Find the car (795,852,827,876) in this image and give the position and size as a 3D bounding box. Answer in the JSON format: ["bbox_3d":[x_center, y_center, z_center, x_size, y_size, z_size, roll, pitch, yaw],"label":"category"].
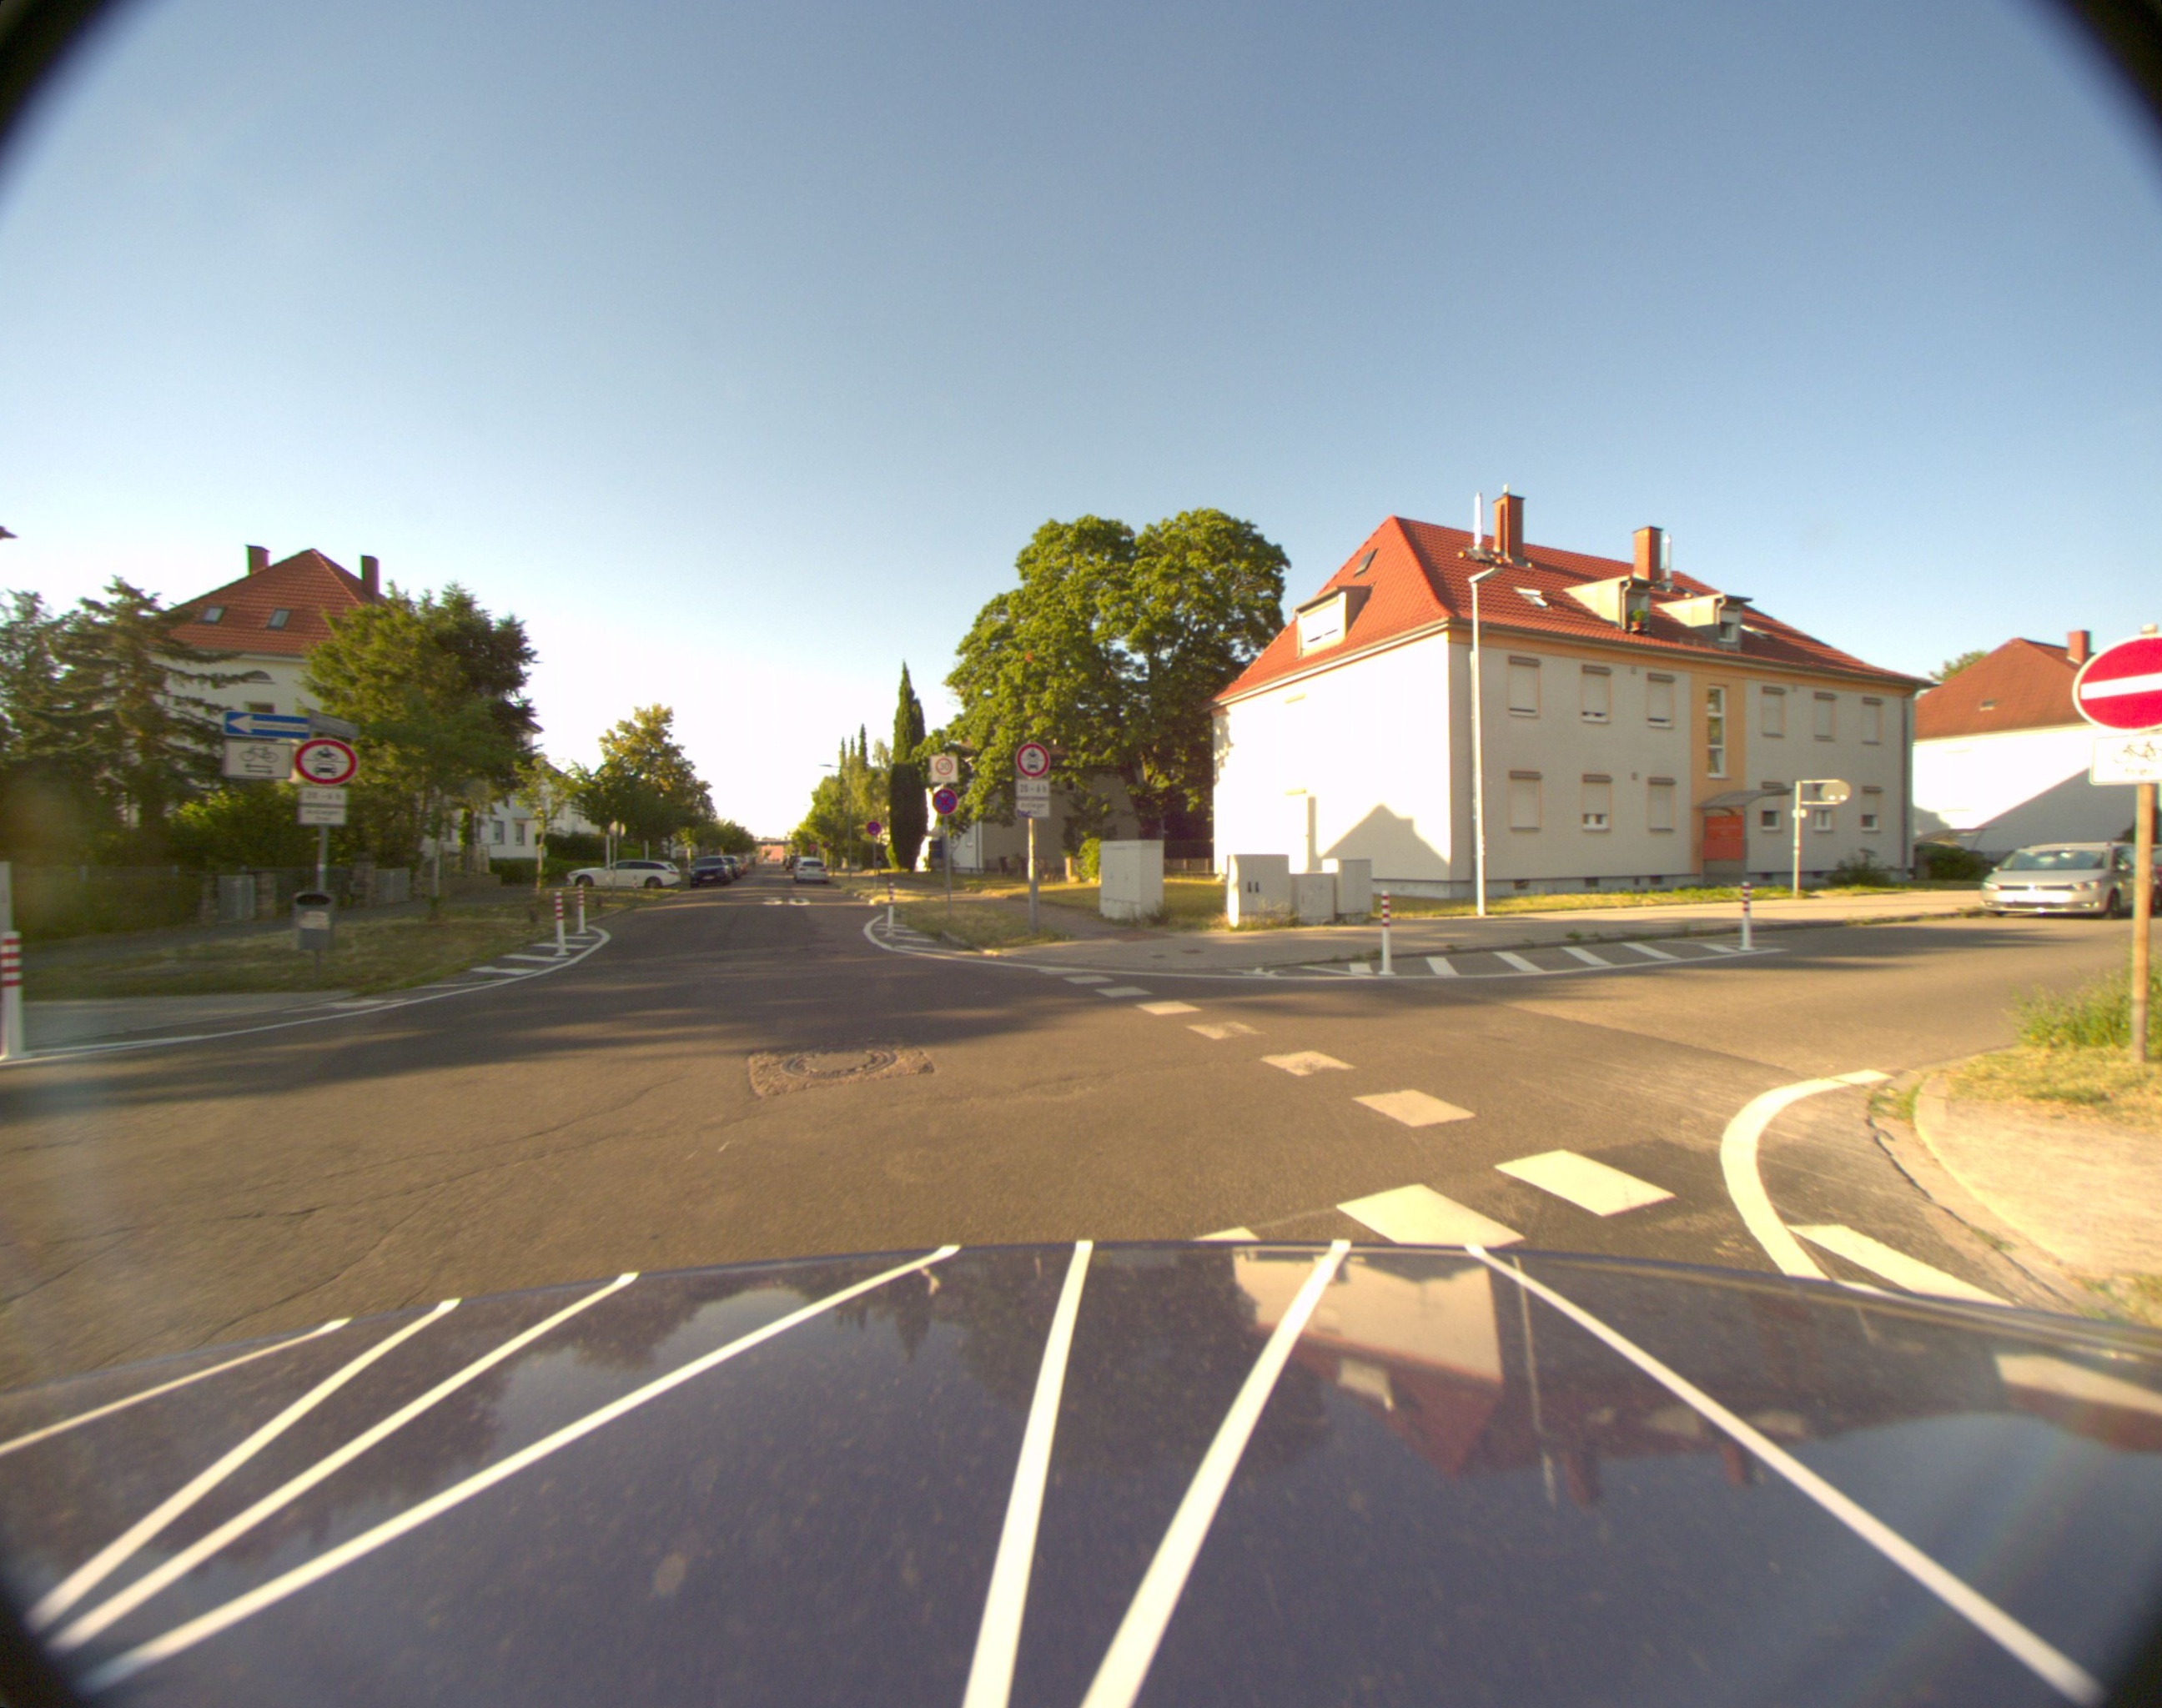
[{"bbox_3d":[-19.877,0.706,55.810,1.974,1.604,4.239,-1,1,-22],"label":"car"}]

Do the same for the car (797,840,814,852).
[{"bbox_3d":[-36.960,-1.070,101.929,1.974,1.604,4.239,-1,1,-22],"label":"car"}]

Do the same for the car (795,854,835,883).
[{"bbox_3d":[-15.878,0.822,45.224,1.974,1.604,4.239,-1,1,-22],"label":"car"}]

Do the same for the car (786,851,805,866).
[{"bbox_3d":[-32.746,0.503,87.138,1.974,1.604,4.239,-1,1,-22],"label":"car"}]

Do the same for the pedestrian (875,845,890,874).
[{"bbox_3d":[-13.866,0.390,53.043,0.900,2.002,0.691,-1,1,-21],"label":"pedestrian"}]

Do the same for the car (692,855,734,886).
[{"bbox_3d":[-20.518,0.860,42.495,1.974,1.604,4.238,-1,1,-25],"label":"car"}]

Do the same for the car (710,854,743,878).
[{"bbox_3d":[-24.954,0.792,53.481,1.974,1.604,4.238,-1,1,-25],"label":"car"}]

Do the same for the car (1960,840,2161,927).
[{"bbox_3d":[21.618,0.593,16.709,4.005,1.685,1.848,-1,-1,-23],"label":"car"}]

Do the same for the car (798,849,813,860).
[{"bbox_3d":[-42.401,0.027,116.756,1.974,1.604,4.239,-1,1,-22],"label":"car"}]

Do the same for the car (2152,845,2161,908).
[{"bbox_3d":[31.262,0.549,20.536,4.005,1.685,1.848,-1,-1,-23],"label":"car"}]

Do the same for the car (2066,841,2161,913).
[{"bbox_3d":[26.965,0.518,19.022,4.005,1.685,1.848,-1,-1,-23],"label":"car"}]

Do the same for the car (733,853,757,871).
[{"bbox_3d":[-31.569,0.744,71.370,1.974,1.604,4.238,-1,1,-25],"label":"car"}]

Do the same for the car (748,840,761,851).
[{"bbox_3d":[-58.345,-1.525,135.944,1.974,1.765,4.238,-1,1,-25],"label":"car"}]

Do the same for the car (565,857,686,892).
[{"bbox_3d":[-22.019,0.942,36.981,4.844,1.604,1.968,0,0,-23],"label":"car"}]

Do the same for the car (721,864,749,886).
[{"bbox_3d":[-28.255,1.710,61.970,1.974,1.604,4.238,-1,1,-25],"label":"car"}]

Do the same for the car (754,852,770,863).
[{"bbox_3d":[-46.376,0.477,110.291,1.974,1.604,4.238,-1,1,-25],"label":"car"}]

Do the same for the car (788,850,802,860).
[{"bbox_3d":[-47.978,0.222,127.351,1.974,1.604,4.239,-1,1,-22],"label":"car"}]

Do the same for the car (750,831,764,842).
[{"bbox_3d":[-52.778,-2.791,123.792,1.974,1.765,4.238,-1,1,-25],"label":"car"}]

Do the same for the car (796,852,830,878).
[{"bbox_3d":[-18.067,0.699,51.127,1.974,1.604,4.239,-1,1,-22],"label":"car"}]
